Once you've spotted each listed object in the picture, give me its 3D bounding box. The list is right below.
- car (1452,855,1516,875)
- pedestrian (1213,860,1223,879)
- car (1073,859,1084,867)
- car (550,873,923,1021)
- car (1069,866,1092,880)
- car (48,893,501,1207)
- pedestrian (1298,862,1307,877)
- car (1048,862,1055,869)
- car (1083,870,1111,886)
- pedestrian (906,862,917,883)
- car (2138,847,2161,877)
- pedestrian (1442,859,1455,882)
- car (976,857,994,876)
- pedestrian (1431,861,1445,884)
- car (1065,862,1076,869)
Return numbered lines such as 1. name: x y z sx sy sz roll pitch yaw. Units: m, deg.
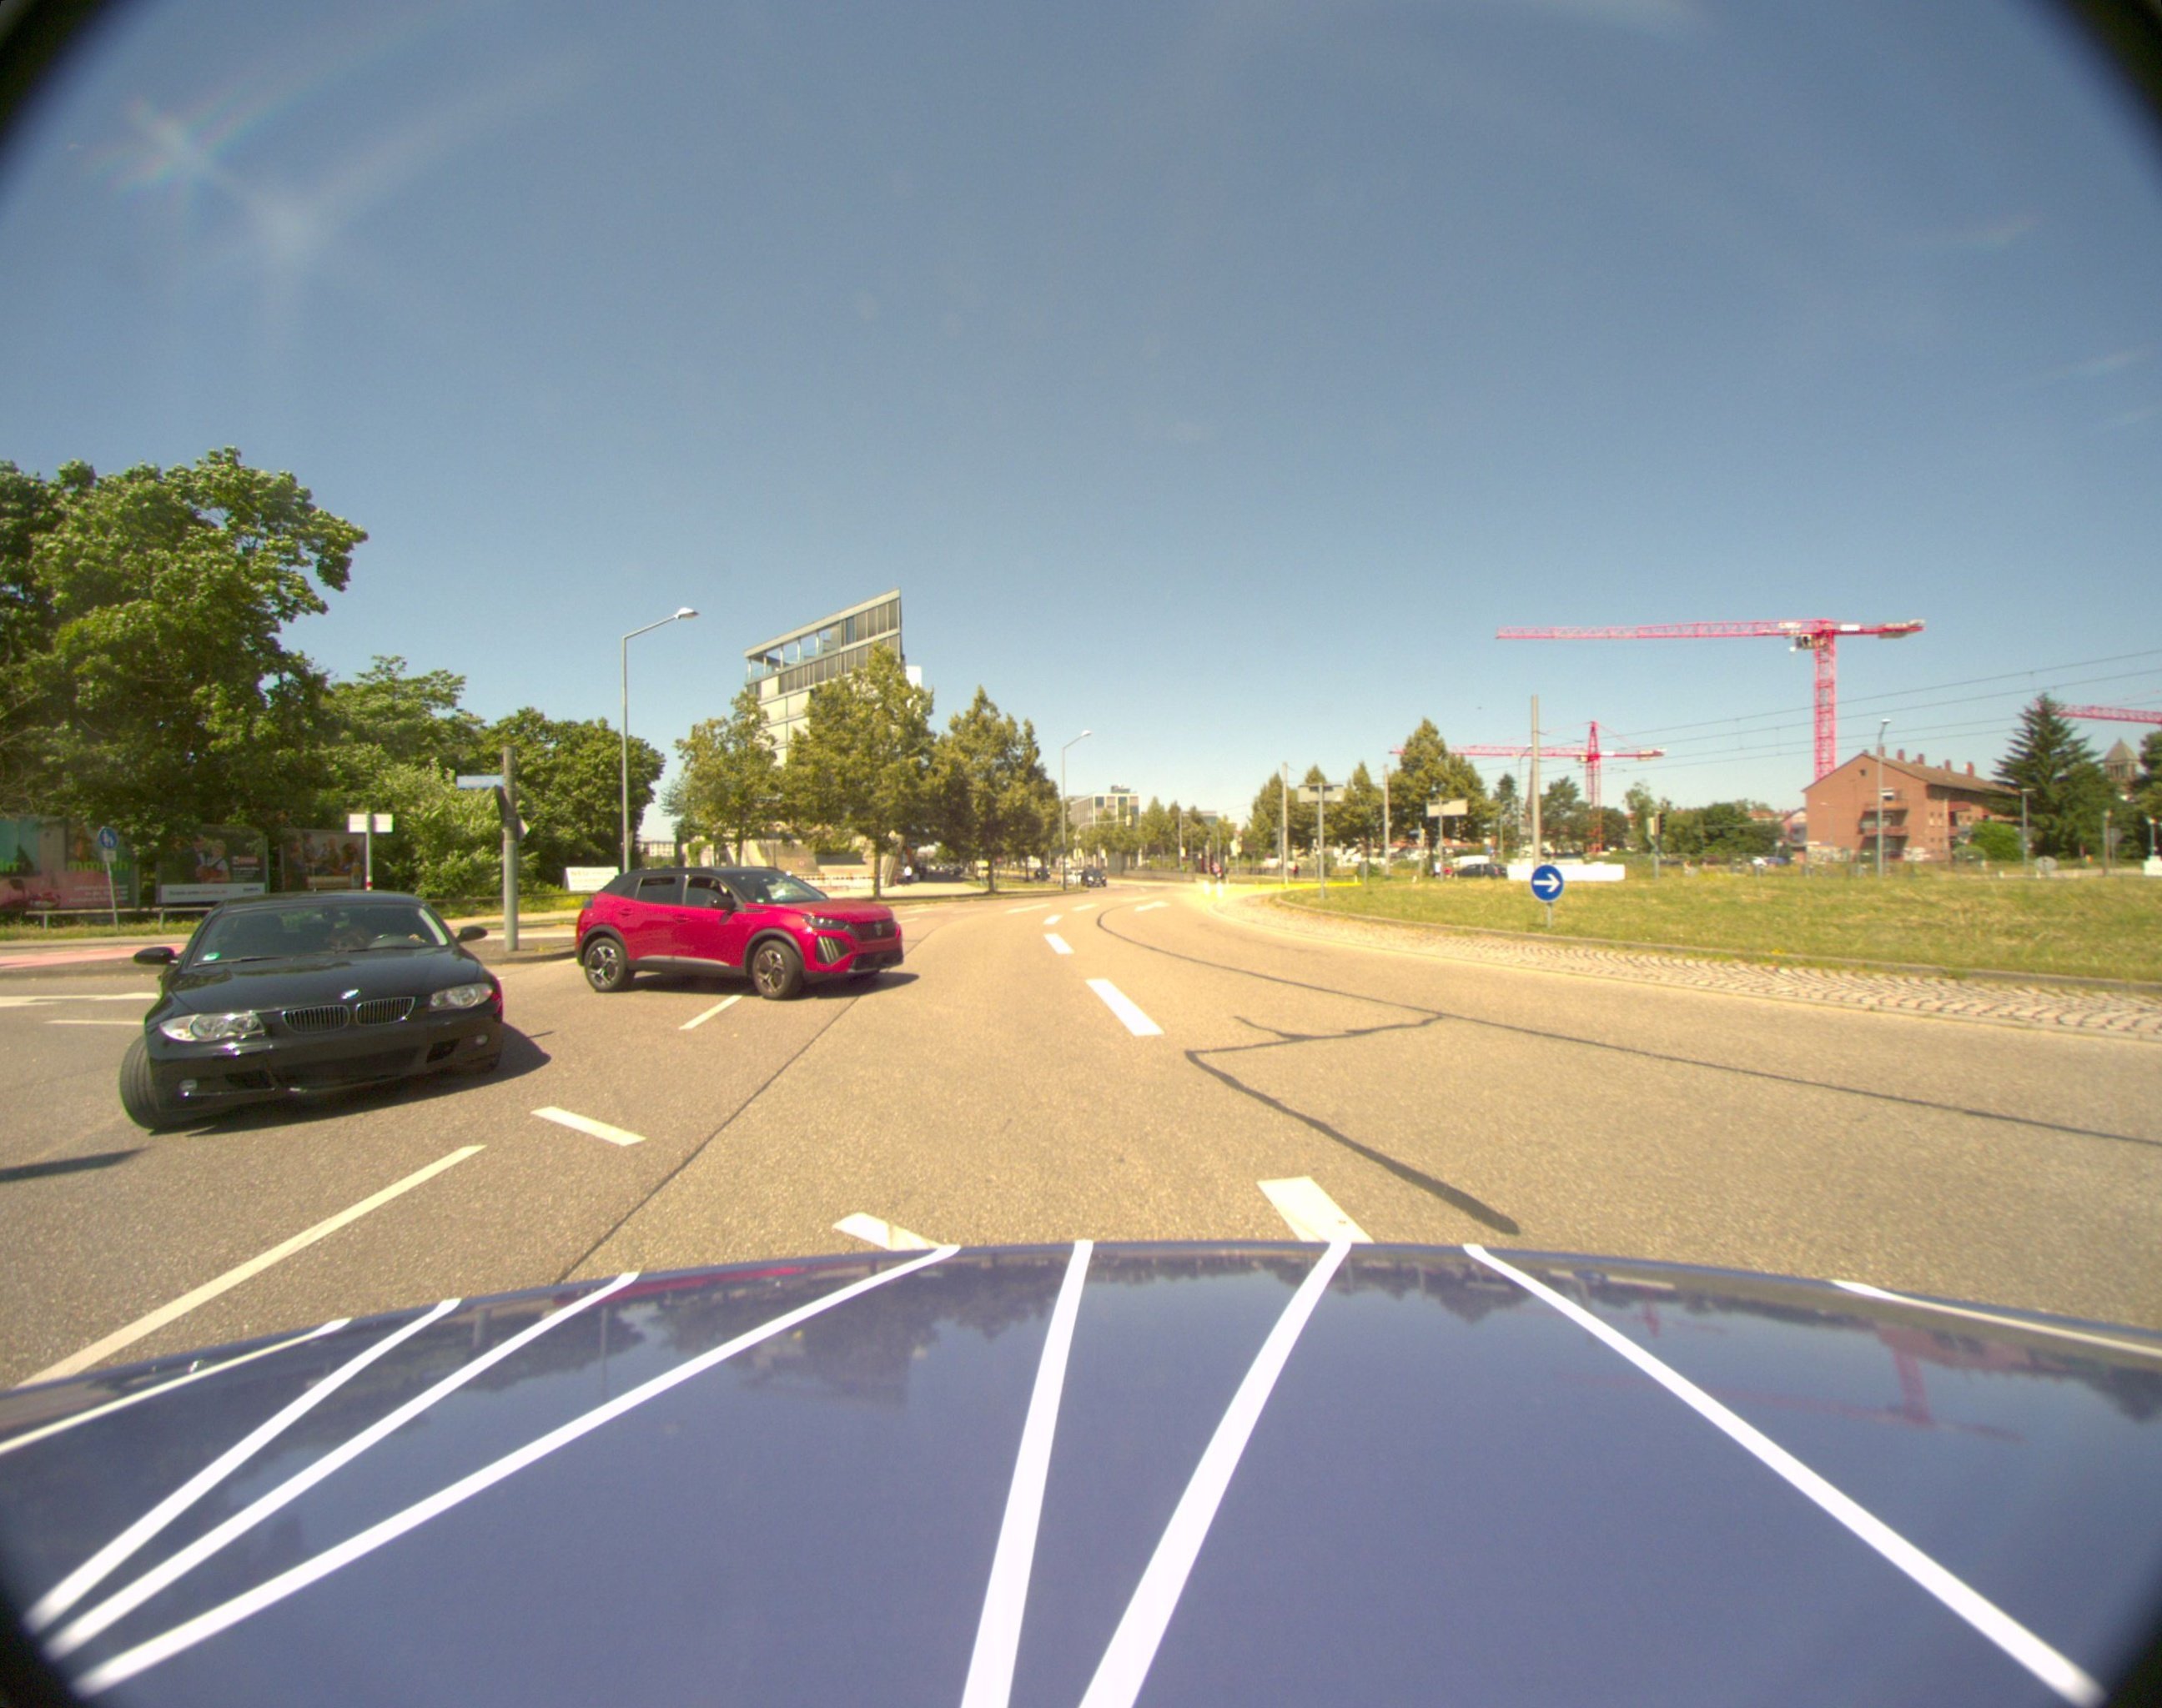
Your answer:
1. car: 31.375 0.846 59.247 2.004 1.456 3.988 -1 2 -43
2. pedestrian: 11.579 1.301 64.219 0.760 1.630 0.781 0 1 0
3. car: -0.688 2.448 200.382 2.001 2.002 3.896 0 1 -14
4. car: -4.270 1.032 9.475 4.202 1.518 1.724 -1 0 20
5. car: -0.073 1.756 71.563 1.577 1.218 3.319 0 1 -10
6. car: -6.019 1.105 5.926 3.989 1.432 1.806 -1 1 45
7. pedestrian: 20.307 1.440 69.587 0.597 1.398 0.543 -1 0 -1
8. car: -9.776 3.717 250.924 2.000 2.002 3.996 0 1 -10
9. car: 1.363 2.044 66.068 1.741 1.205 3.562 0 1 -10
10. pedestrian: -14.846 1.628 66.521 0.834 1.858 0.611 0 2 1
11. car: 74.005 0.523 51.527 4.005 2.002 1.995 0 1 -25
12. pedestrian: 31.350 1.401 64.844 0.746 2.002 0.732 0 2 -1
13. car: -13.540 1.768 107.390 2.001 2.493 3.995 -1 0 -15
14. pedestrian: 30.429 1.563 64.826 0.814 1.888 0.732 0 2 -1
15. car: -2.930 3.169 211.706 2.001 2.002 3.896 0 1 -14
